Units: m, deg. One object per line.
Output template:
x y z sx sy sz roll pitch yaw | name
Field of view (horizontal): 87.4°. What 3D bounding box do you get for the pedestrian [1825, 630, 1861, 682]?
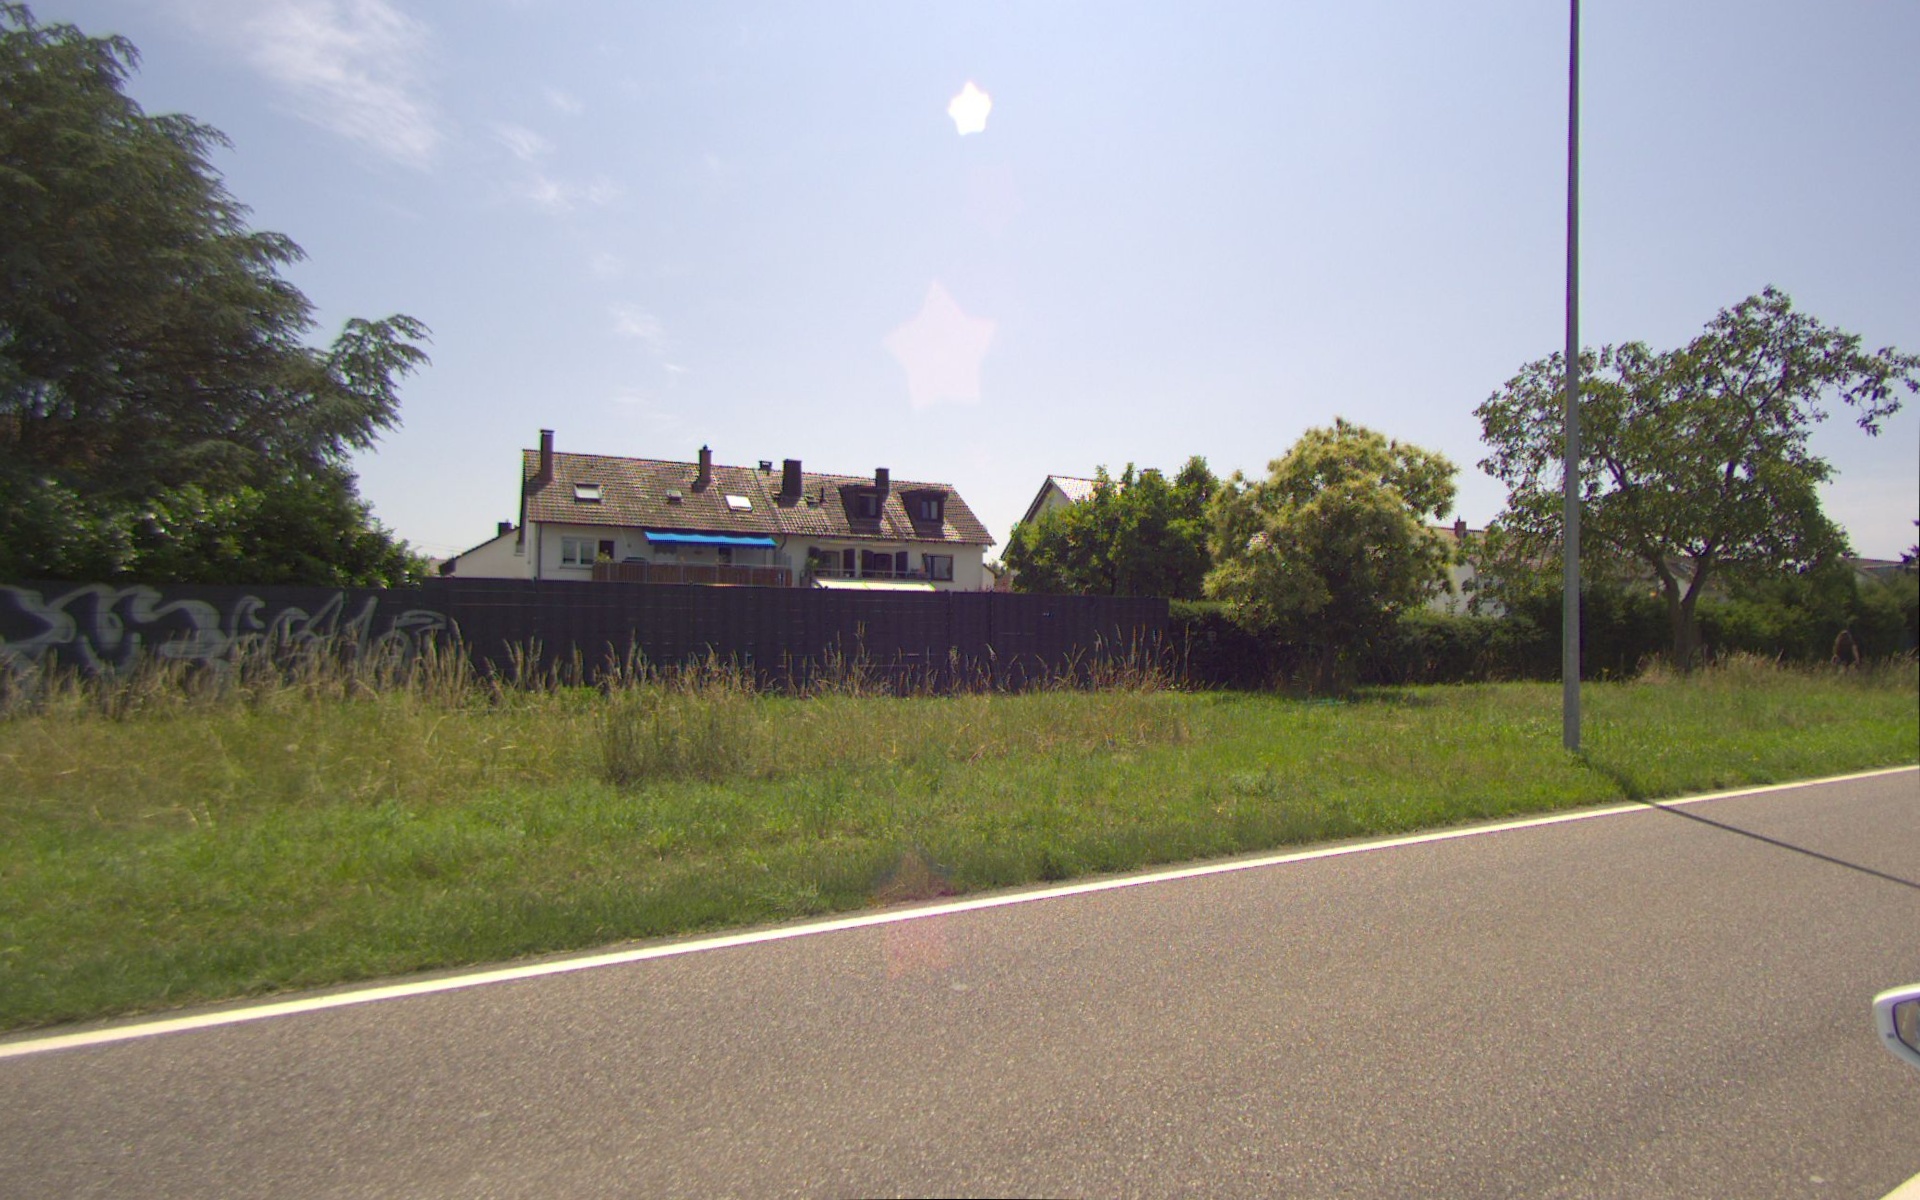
25.949 1.646 29.527 0.625 1.497 0.606 2 -1 -27 | pedestrian
